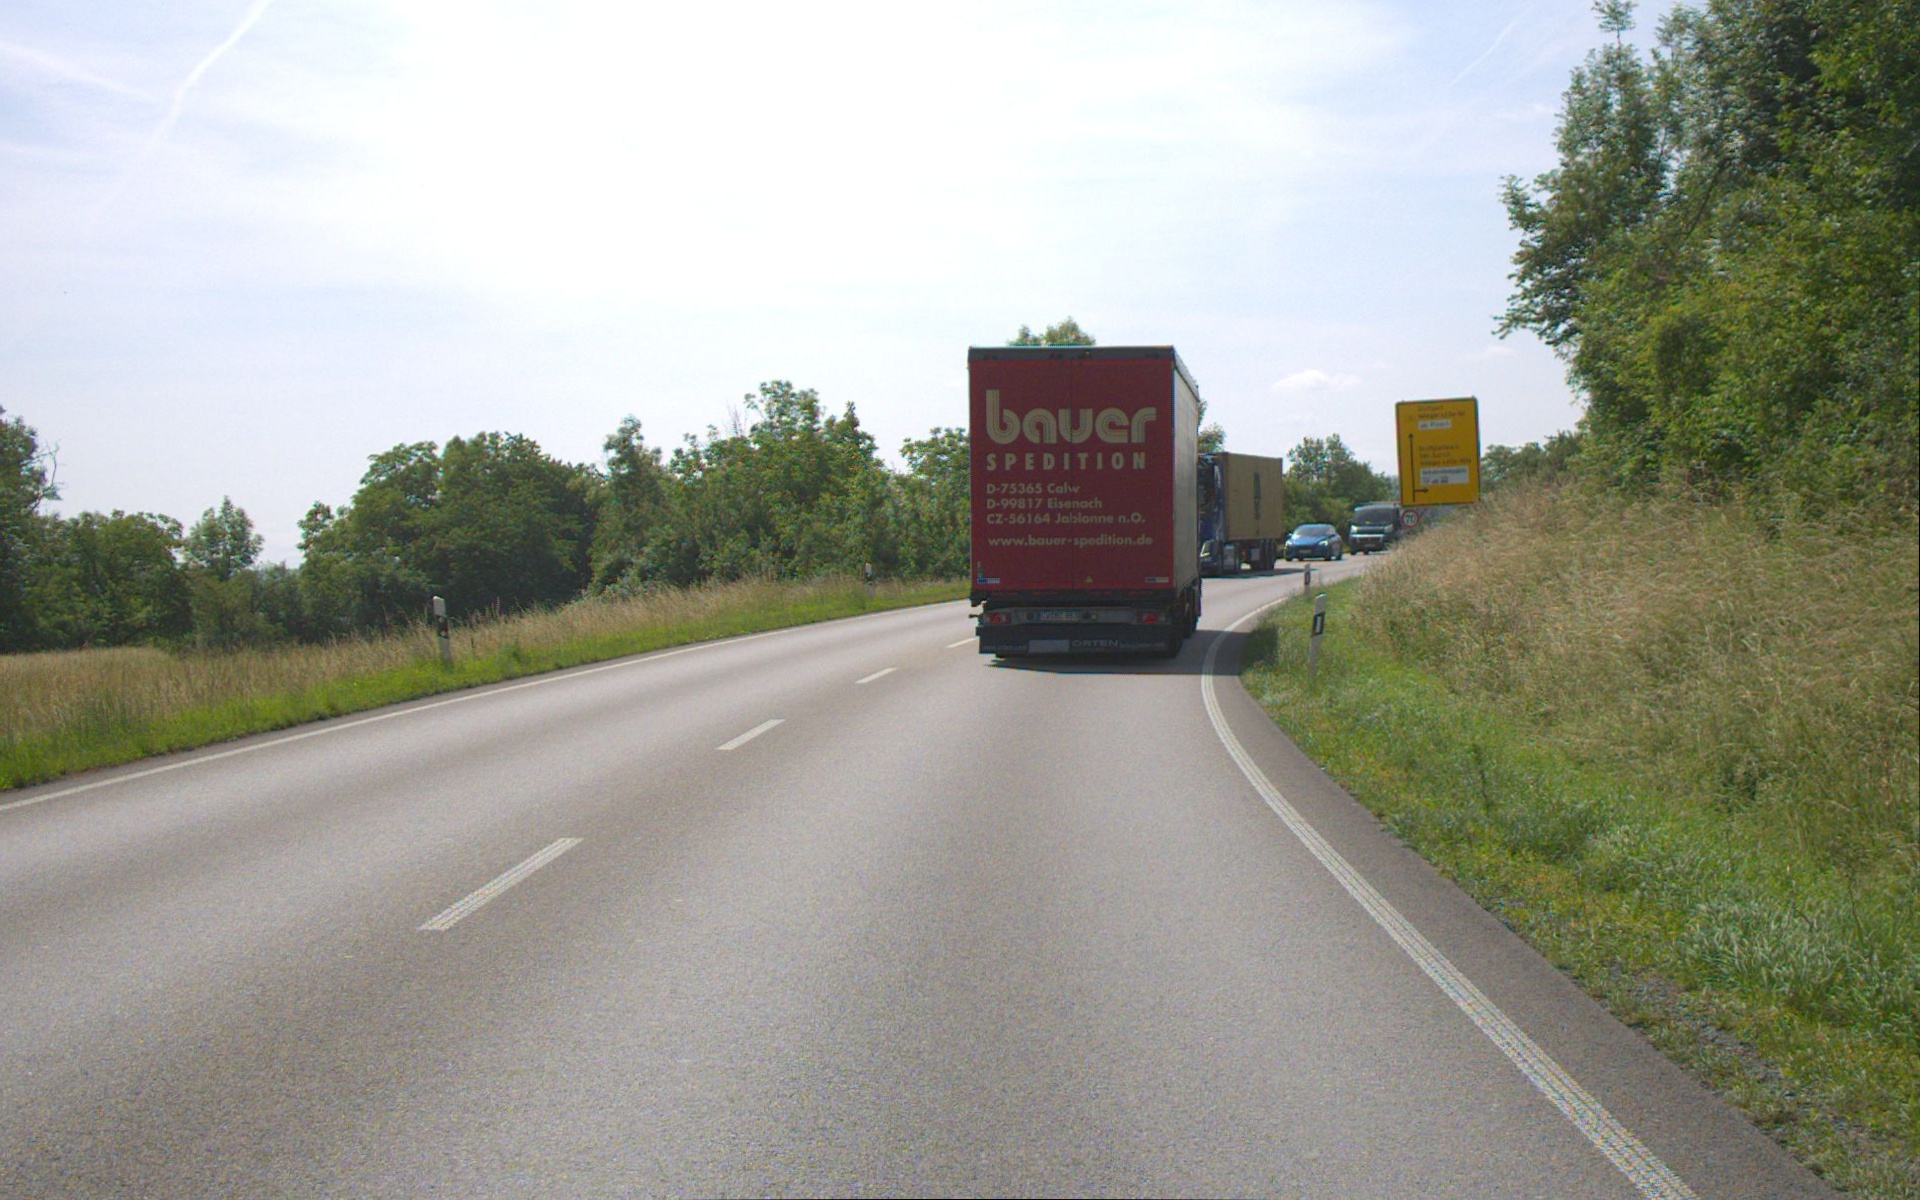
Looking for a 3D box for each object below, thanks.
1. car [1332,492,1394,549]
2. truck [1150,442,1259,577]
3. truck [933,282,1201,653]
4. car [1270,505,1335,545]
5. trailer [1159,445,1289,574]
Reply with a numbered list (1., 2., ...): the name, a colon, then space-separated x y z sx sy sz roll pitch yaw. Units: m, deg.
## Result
1. car: 18.006 -3.559 153.270 2.172 2.295 4.905 -5 1 12
2. truck: 7.717 -2.825 107.765 2.807 4.053 5.983 -1 1 9
3. truck: 1.733 -1.759 48.065 3.113 4.490 12.166 -1 1 5
4. car: 13.865 -3.044 138.897 1.864 1.480 4.356 -3 1 15
5. trailer: 8.971 -2.947 115.130 2.998 4.029 12.912 0 1 10
